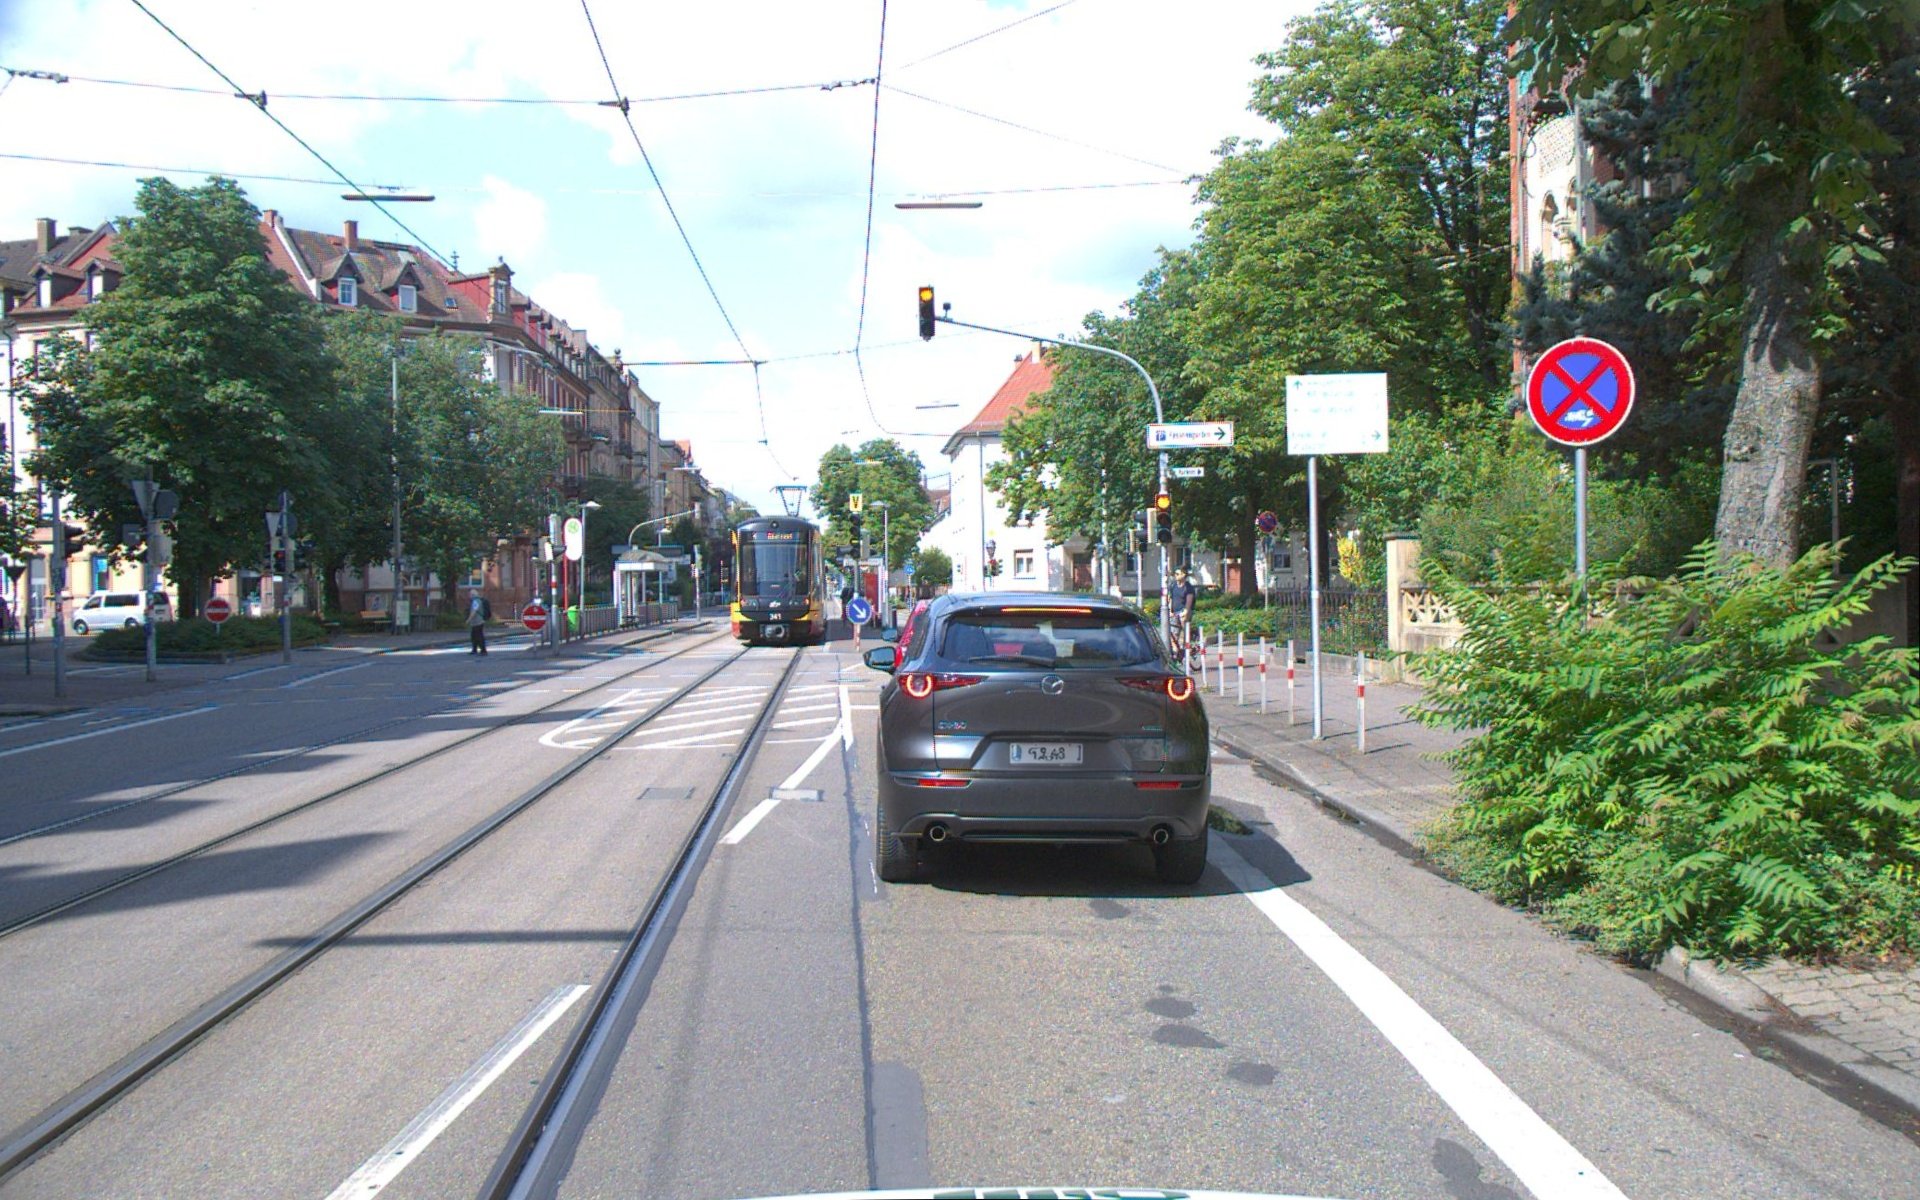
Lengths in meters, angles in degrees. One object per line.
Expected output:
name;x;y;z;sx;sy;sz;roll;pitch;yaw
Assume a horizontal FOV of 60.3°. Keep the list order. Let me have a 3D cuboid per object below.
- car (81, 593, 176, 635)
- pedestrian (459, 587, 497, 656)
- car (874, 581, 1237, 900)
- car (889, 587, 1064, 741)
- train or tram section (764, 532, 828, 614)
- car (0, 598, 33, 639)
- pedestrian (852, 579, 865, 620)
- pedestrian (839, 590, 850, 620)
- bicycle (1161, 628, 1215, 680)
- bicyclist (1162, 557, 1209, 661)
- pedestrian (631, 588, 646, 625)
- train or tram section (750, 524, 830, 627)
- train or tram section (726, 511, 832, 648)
car;-39.621;0.666;78.815;3.906;1.937;1.999;-1;0;23
pedestrian;-12.360;0.535;42.403;0.710;1.735;0.815;-1;0;-32
car;0.424;0.671;10.035;1.742;1.526;3.999;1;0;-1
car;0.124;0.629;18.637;1.742;1.526;3.999;1;0;-1
train or tram section;-7.720;-1.344;79.151;2.699;3.551;14.395;-1;1;-5
car;-39.964;0.782;66.793;3.906;1.624;2.000;-1;0;-1
pedestrian;-3.638;-0.018;59.418;0.441;1.459;0.474;-1;0;-6
pedestrian;-4.136;0.180;59.312;0.372;1.089;0.474;-1;0;-5
bicycle;4.082;0.955;29.575;0.483;0.838;1.698;-1;0;25
bicyclist;4.014;0.151;29.439;0.643;1.824;0.609;-1;0;26
pedestrian;-12.496;0.259;64.276;0.420;1.423;0.397;-1;0;30
train or tram section;-6.516;-1.012;64.823;2.699;3.551;14.395;-1;1;-5
train or tram section;-5.325;-0.701;50.481;2.699;3.551;14.395;-1;1;-5
